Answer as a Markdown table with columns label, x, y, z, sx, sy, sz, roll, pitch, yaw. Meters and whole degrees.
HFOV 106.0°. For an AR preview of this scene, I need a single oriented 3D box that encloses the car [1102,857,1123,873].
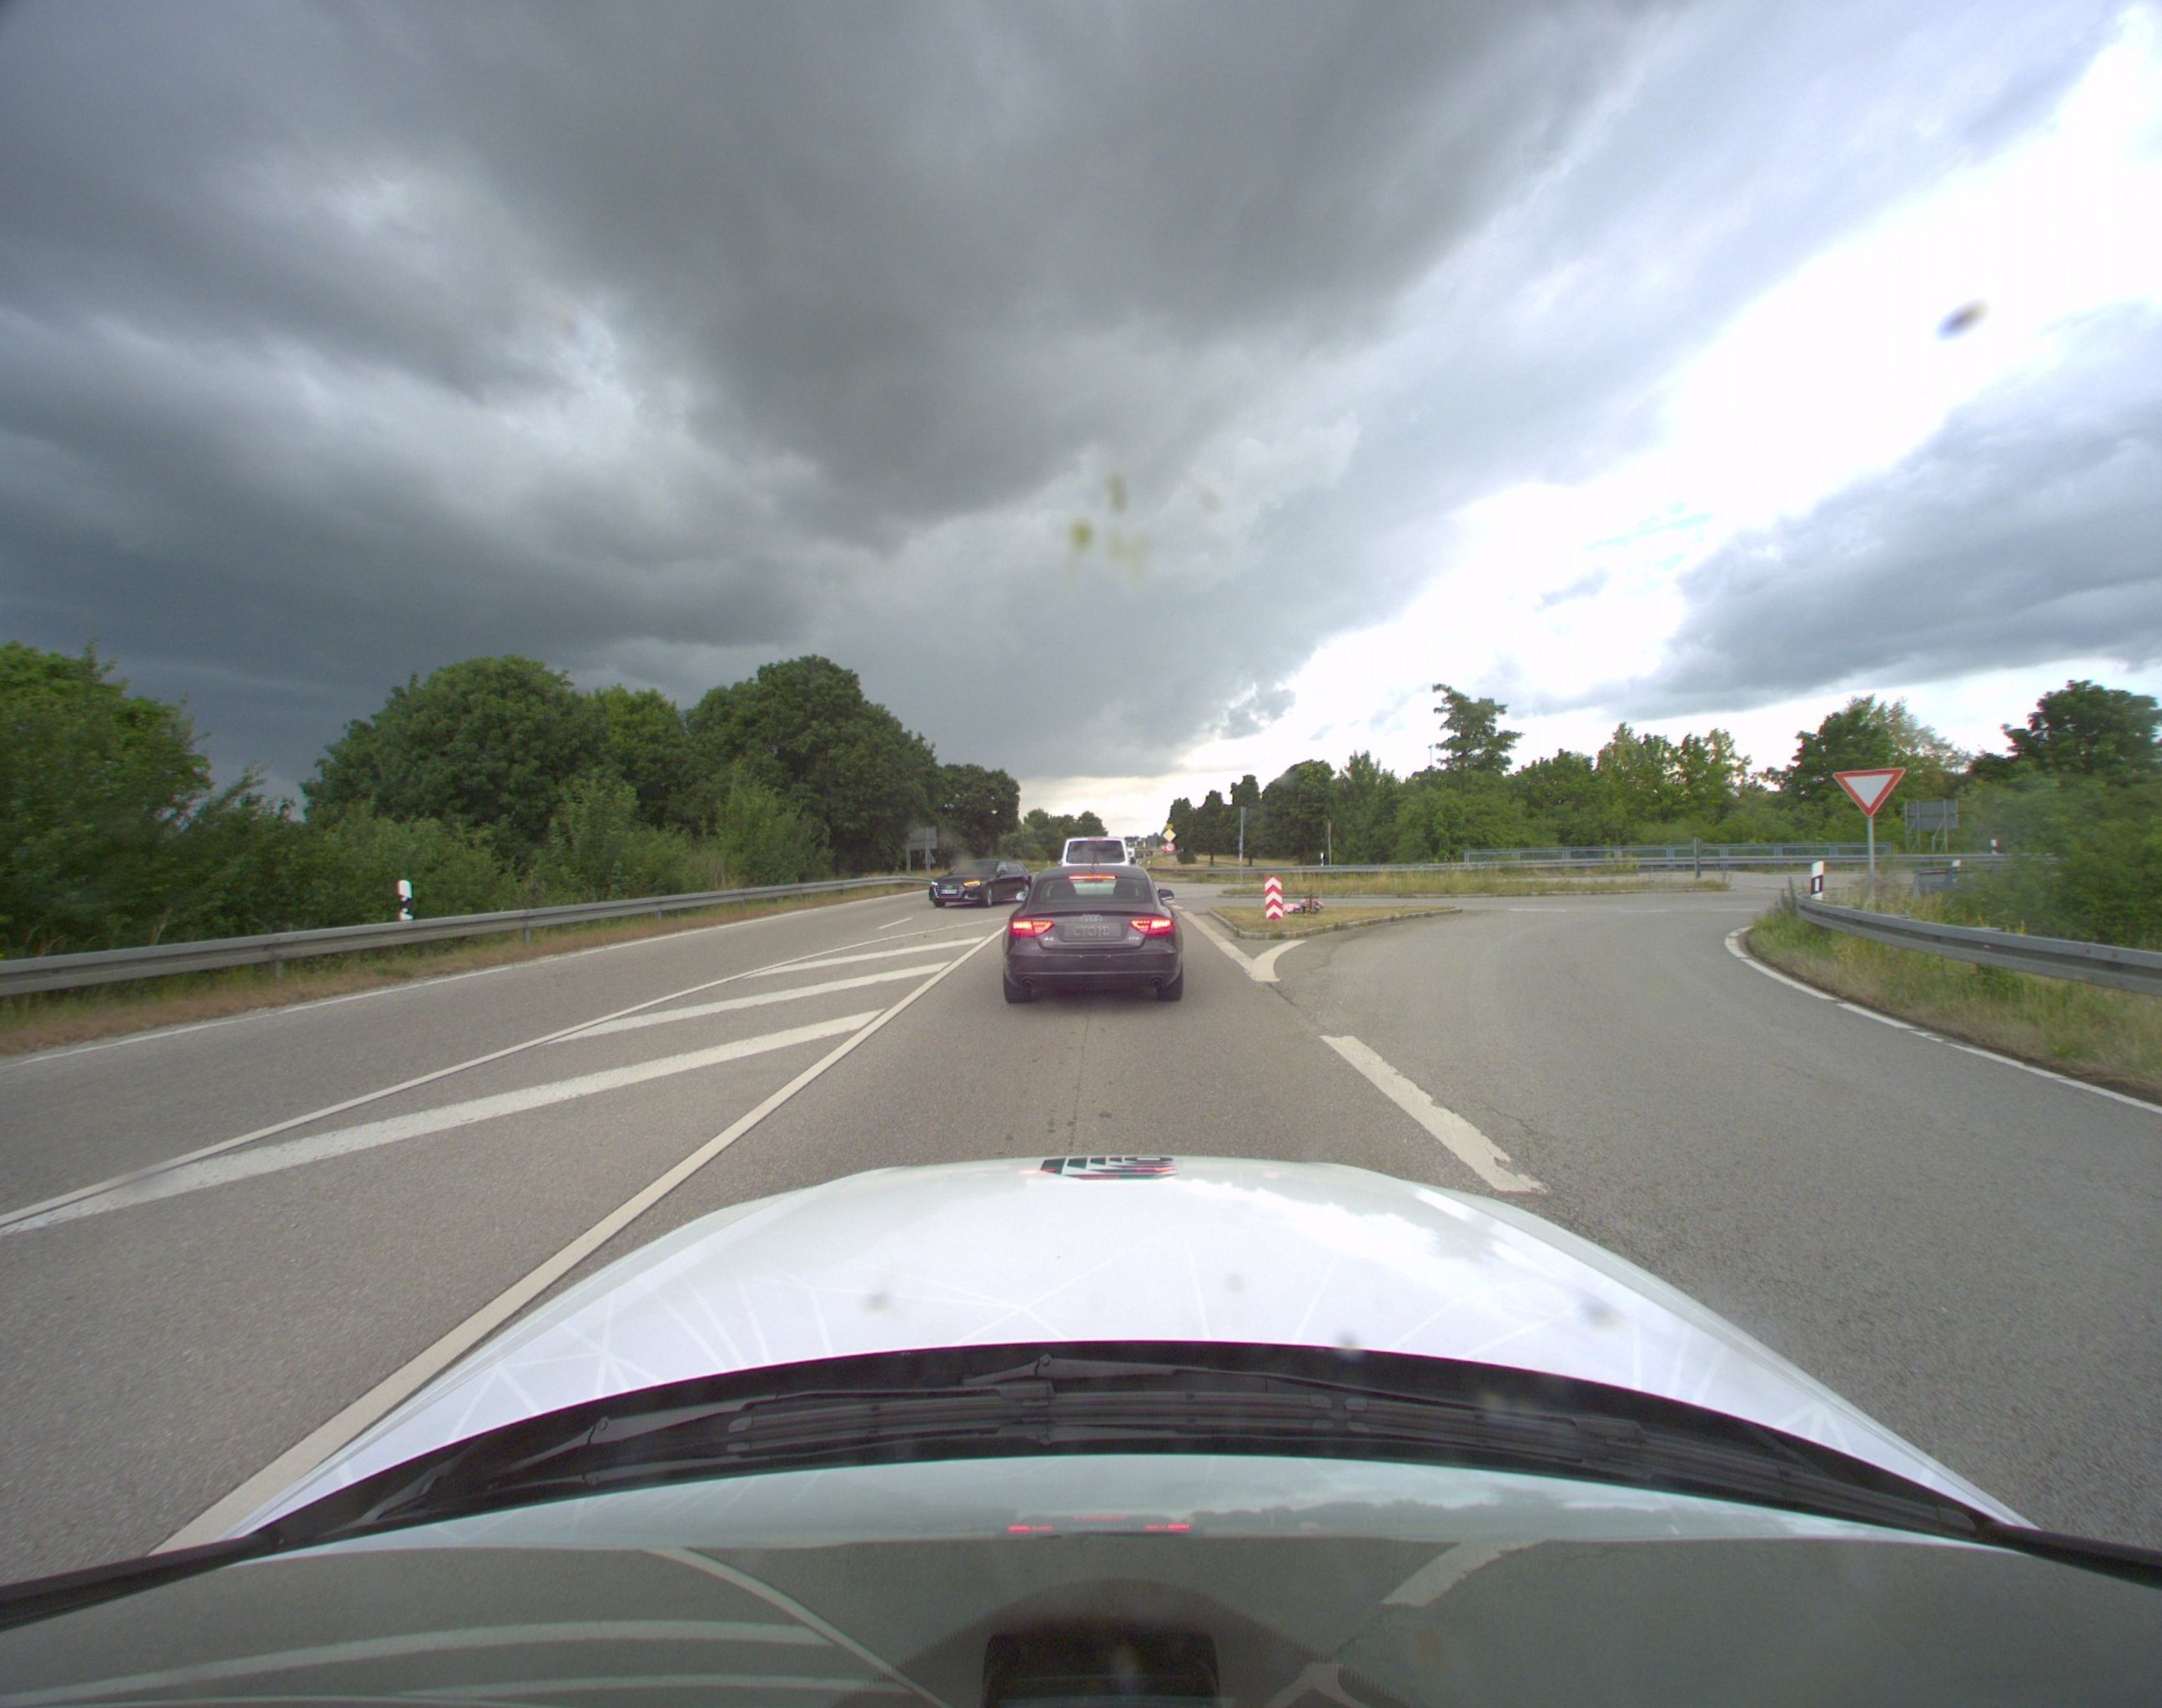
| label | x | y | z | sx | sy | sz | roll | pitch | yaw |
| --- | --- | --- | --- | --- | --- | --- | --- | --- | --- |
| car | 3.099 | 1.078 | 78.744 | 1.787 | 1.464 | 3.253 | -1 | 0 | 5 |

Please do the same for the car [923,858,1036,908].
| label | x | y | z | sx | sy | sz | roll | pitch | yaw |
| --- | --- | --- | --- | --- | --- | --- | --- | --- | --- |
| car | -3.055 | 0.851 | 25.618 | 1.806 | 1.374 | 4.631 | -1 | 0 | 16 |

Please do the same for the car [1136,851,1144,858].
| label | x | y | z | sx | sy | sz | roll | pitch | yaw |
| --- | --- | --- | --- | --- | --- | --- | --- | --- | --- |
| car | 13.365 | 0.166 | 185.691 | 1.712 | 1.451 | 4.003 | -1 | 0 | 3 |

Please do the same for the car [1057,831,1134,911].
| label | x | y | z | sx | sy | sz | roll | pitch | yaw |
| --- | --- | --- | --- | --- | --- | --- | --- | --- | --- |
| car | 0.422 | 0.398 | 21.569 | 1.832 | 1.882 | 4.002 | -1 | 0 | 2 |

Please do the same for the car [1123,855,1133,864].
| label | x | y | z | sx | sy | sz | roll | pitch | yaw |
| --- | --- | --- | --- | --- | --- | --- | --- | --- | --- |
| car | 7.766 | 0.864 | 133.899 | 1.251 | 1.353 | 3.473 | -2 | 0 | 8 |

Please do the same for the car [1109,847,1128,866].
| label | x | y | z | sx | sy | sz | roll | pitch | yaw |
| --- | --- | --- | --- | --- | --- | --- | --- | --- | --- |
| car | 4.262 | 0.306 | 92.772 | 1.984 | 2.088 | 4.005 | -2 | 0 | 5 |

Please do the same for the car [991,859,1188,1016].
| label | x | y | z | sx | sy | sz | roll | pitch | yaw |
| --- | --- | --- | --- | --- | --- | --- | --- | --- | --- |
| car | 0.139 | 0.776 | 9.430 | 1.776 | 1.376 | 4.002 | -1 | 0 | 2 |

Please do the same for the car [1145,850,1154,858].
| label | x | y | z | sx | sy | sz | roll | pitch | yaw |
| --- | --- | --- | --- | --- | --- | --- | --- | --- | --- |
| car | 17.849 | -0.095 | 212.711 | 1.986 | 2.013 | 4.001 | -1 | 0 | 1 |

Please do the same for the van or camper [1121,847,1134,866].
| label | x | y | z | sx | sy | sz | roll | pitch | yaw |
| --- | --- | --- | --- | --- | --- | --- | --- | --- | --- |
| van or camper | 8.673 | 0.479 | 151.025 | 2.330 | 3.481 | 5.724 | -1 | 0 | 4 |
